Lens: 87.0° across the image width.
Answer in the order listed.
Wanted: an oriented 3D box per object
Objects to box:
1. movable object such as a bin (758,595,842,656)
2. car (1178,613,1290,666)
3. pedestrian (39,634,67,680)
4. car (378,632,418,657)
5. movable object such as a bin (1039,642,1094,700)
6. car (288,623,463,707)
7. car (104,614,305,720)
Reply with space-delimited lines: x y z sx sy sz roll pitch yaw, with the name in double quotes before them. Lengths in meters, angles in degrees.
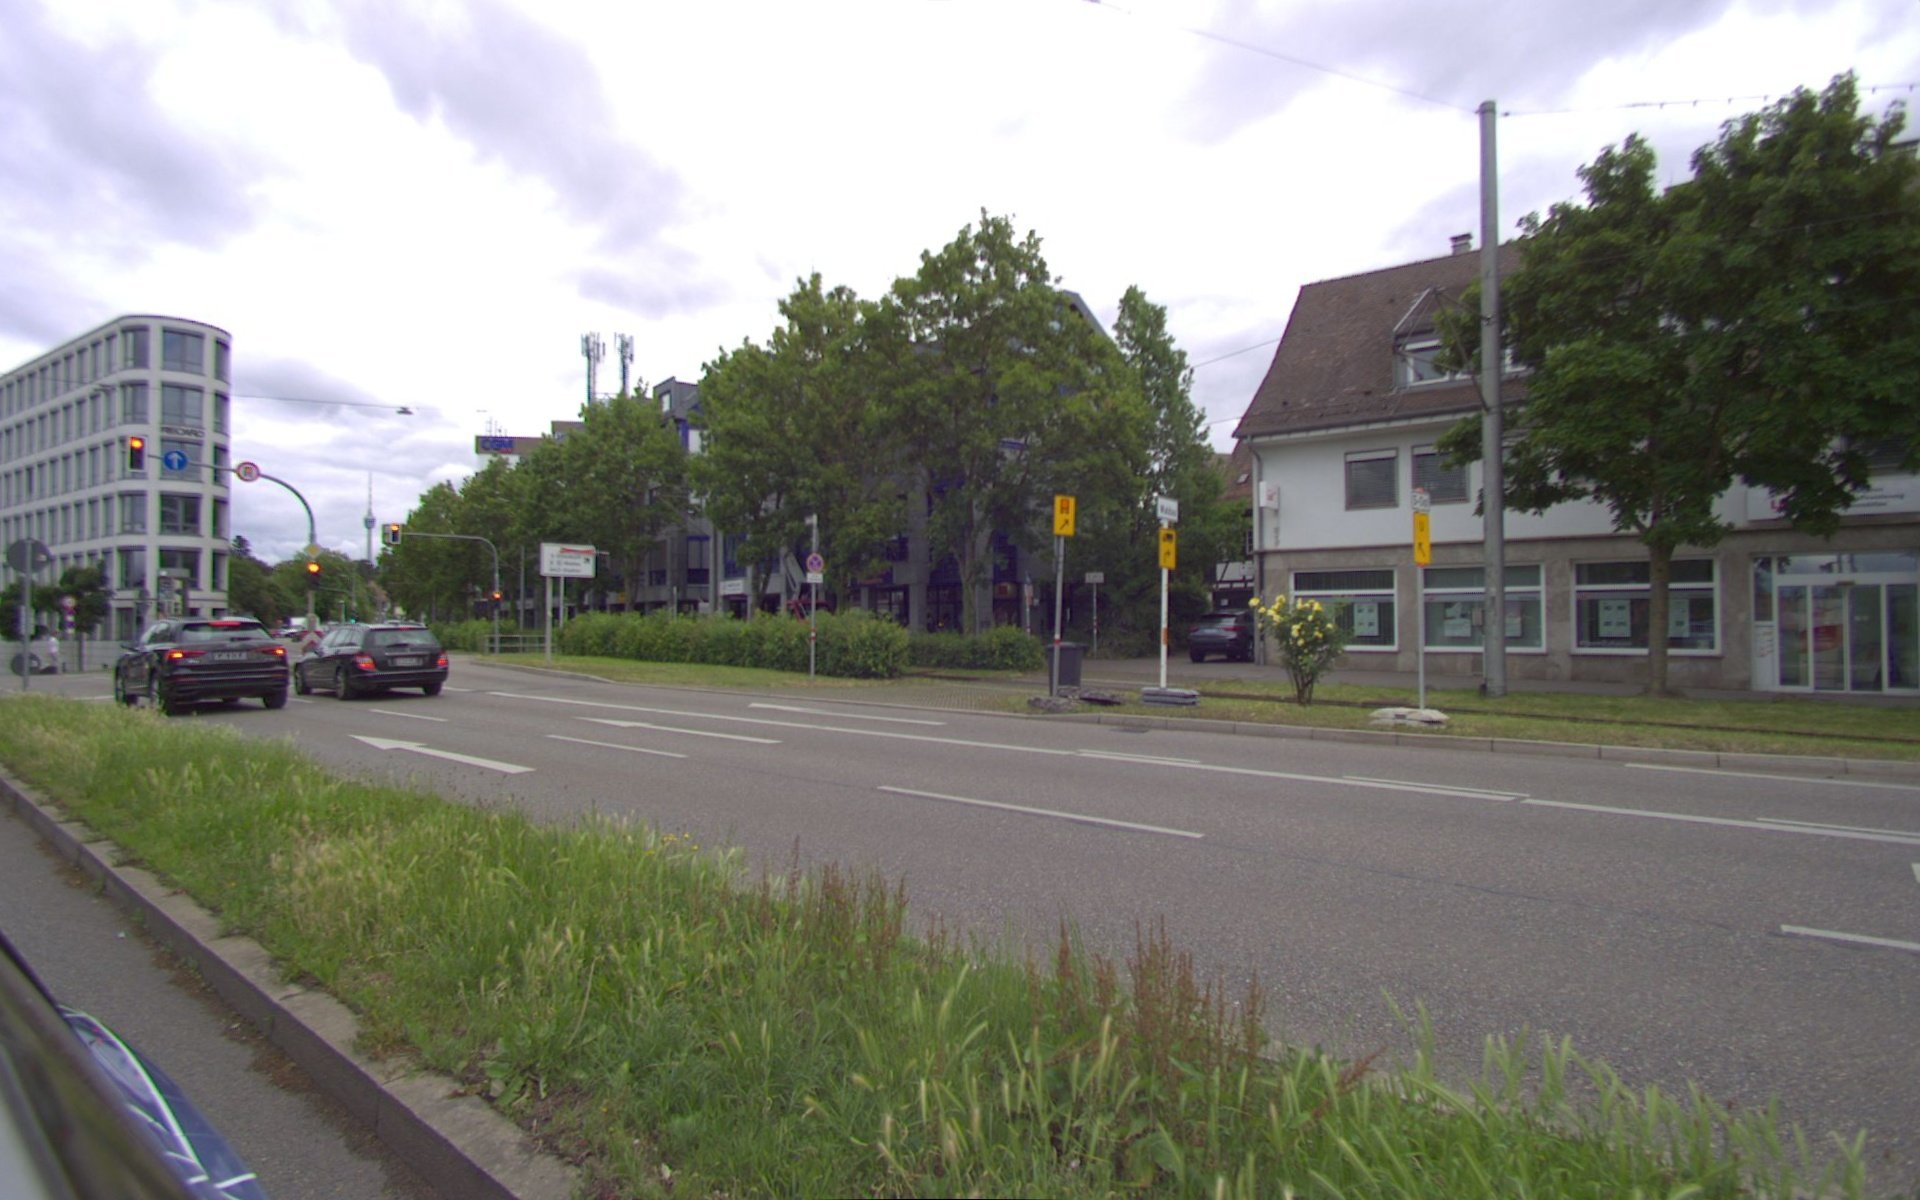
"movable object such as a bin" -7.055 1.112 44.229 1.880 2.551 4.135 1 -2 -38
"car" 8.336 1.180 30.594 1.856 1.436 3.951 -3 -2 38
"pedestrian" -38.029 2.393 42.458 0.744 1.932 0.589 1 -5 -34
"car" -35.972 2.813 64.699 1.759 1.549 4.406 1 -2 -35
"movable object such as a bin" 1.952 1.295 18.593 0.838 1.020 0.557 -2 -2 43
"car" -11.706 1.259 20.125 4.395 1.436 1.764 -3 -2 42
"car" -13.159 1.118 17.524 4.392 1.576 1.869 -3 -2 40
